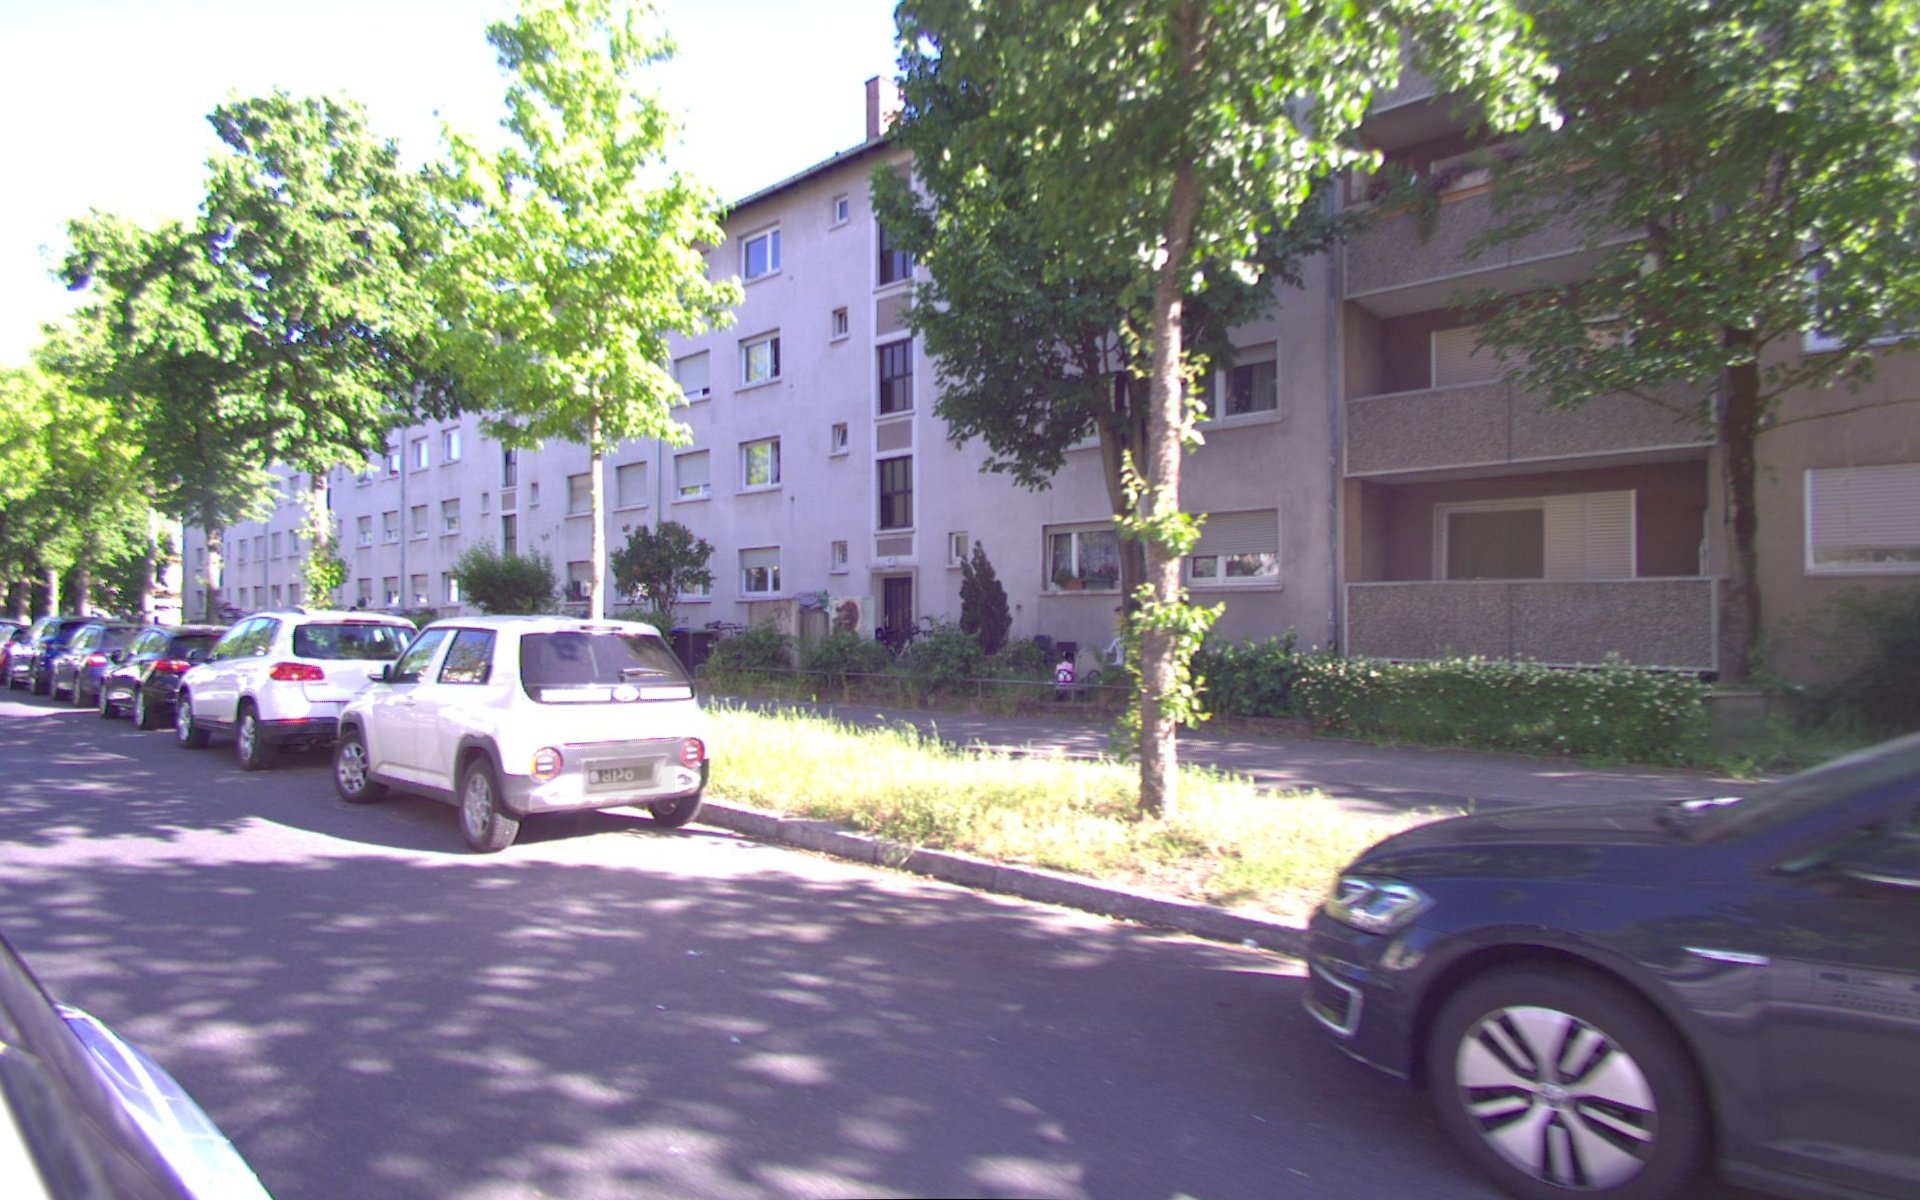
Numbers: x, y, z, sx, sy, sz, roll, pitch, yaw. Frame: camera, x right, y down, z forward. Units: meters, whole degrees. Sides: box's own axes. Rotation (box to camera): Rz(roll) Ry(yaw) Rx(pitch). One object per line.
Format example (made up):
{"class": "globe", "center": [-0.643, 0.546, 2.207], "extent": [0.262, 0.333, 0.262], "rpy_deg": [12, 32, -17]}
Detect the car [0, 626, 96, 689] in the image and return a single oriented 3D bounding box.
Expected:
{"class": "car", "center": [-23.084, 1.372, 25.128], "extent": [4.066, 1.385, 1.855], "rpy_deg": [0, -2, 41]}

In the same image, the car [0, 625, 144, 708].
{"class": "car", "center": [-19.249, 1.362, 21.806], "extent": [4.406, 1.597, 1.796], "rpy_deg": [-2, -3, 41]}

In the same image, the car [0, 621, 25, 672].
{"class": "car", "center": [-32.238, 1.483, 33.173], "extent": [4.181, 1.574, 1.855], "rpy_deg": [0, -2, 41]}

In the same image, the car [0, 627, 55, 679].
{"class": "car", "center": [-27.970, 1.501, 29.491], "extent": [4.181, 1.385, 1.855], "rpy_deg": [0, -2, 41]}

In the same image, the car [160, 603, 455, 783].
{"class": "car", "center": [-7.547, 0.910, 11.545], "extent": [4.221, 1.692, 1.686], "rpy_deg": [0, -2, 41]}

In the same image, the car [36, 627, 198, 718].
{"class": "car", "center": [-15.539, 1.250, 18.586], "extent": [3.965, 1.456, 1.632], "rpy_deg": [0, -2, 41]}

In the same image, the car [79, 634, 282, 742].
{"class": "car", "center": [-11.946, 1.231, 15.413], "extent": [4.234, 1.402, 1.640], "rpy_deg": [-2, -2, 41]}

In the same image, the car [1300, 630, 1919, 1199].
{"class": "car", "center": [3.062, 0.829, 2.198], "extent": [4.089, 1.405, 1.643], "rpy_deg": [-1, 1, 40]}

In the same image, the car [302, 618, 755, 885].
{"class": "car", "center": [-3.587, 0.953, 8.072], "extent": [3.997, 1.538, 1.699], "rpy_deg": [-1, 1, 40]}
